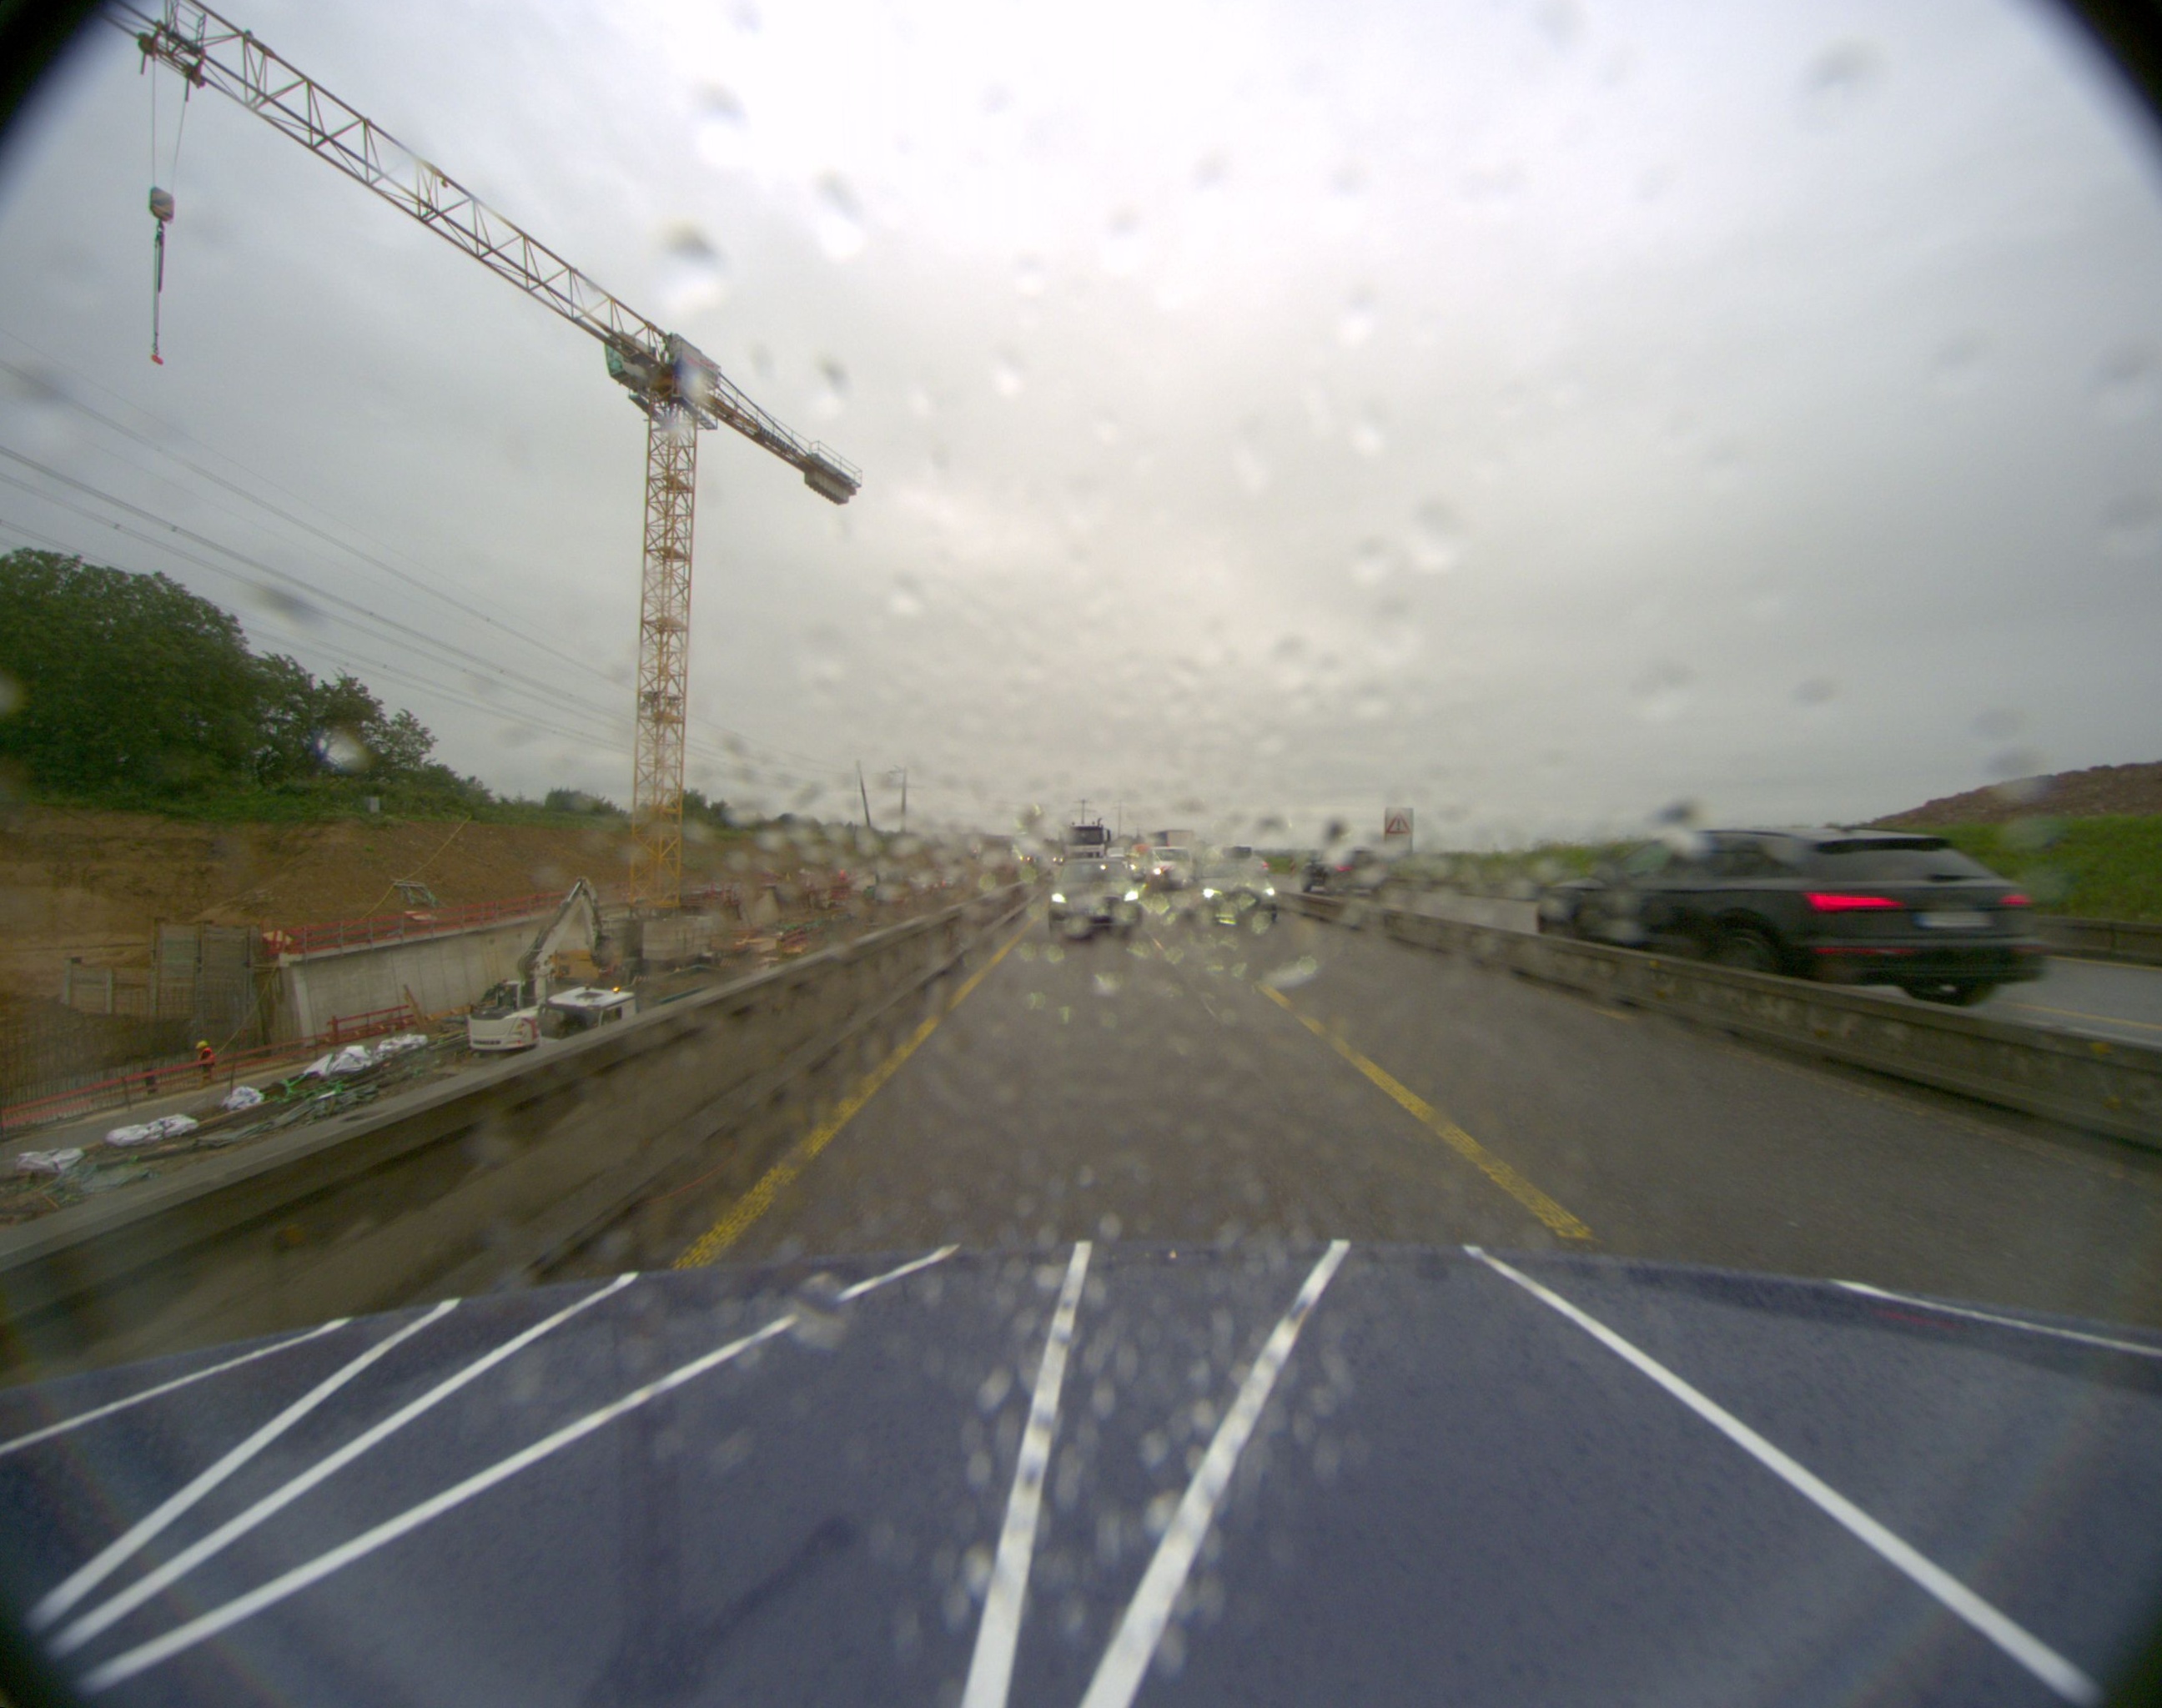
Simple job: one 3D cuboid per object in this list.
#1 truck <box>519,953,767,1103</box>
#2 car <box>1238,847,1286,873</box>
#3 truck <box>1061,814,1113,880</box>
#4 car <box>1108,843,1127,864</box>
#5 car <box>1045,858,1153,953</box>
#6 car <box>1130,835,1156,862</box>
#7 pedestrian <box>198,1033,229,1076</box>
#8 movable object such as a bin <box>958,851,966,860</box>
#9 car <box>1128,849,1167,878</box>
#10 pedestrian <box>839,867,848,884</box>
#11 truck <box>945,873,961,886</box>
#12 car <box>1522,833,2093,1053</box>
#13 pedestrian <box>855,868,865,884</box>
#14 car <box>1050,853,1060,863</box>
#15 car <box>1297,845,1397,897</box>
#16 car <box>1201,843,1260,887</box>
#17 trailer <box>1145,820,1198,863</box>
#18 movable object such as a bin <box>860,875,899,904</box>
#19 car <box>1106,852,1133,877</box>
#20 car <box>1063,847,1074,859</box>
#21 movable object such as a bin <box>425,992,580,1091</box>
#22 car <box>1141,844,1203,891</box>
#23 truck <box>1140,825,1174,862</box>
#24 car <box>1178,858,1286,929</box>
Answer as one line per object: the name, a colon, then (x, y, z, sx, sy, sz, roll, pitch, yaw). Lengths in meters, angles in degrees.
truck: (-16.029, 6.193, 28.988, 2.704, 3.483, 8.954, -2, 1, 12)
car: (11.115, 0.326, 47.031, 1.998, 1.492, 4.536, -2, 0, 2)
truck: (0.228, -0.468, 47.252, 2.837, 3.617, 9.117, -2, 1, -1)
car: (4.835, -0.032, 100.528, 2.011, 2.638, 6.884, -2, 0, -1)
car: (0.333, 0.898, 15.150, 1.799, 1.524, 4.307, -2, 0, 1)
car: (6.081, -0.519, 75.358, 2.059, 2.562, 7.021, -2, 0, 1)
pedestrian: (-32.419, 7.489, 28.395, 0.424, 1.427, 0.399, -11, 1, 4)
movable object such as a bin: (-38.311, 0.564, 244.661, 2.253, 2.703, 3.997, -2, 1, -7)
car: (3.866, 0.541, 44.652, 1.800, 1.521, 4.066, -2, 1, -1)
pedestrian: (-33.619, 3.000, 107.548, 0.918, 2.233, 1.005, -6, 2, -7)
truck: (-20.240, 3.996, 120.402, 1.767, 1.860, 5.783, 0, 1, -3)
car: (6.849, 0.692, 8.050, 1.826, 1.629, 4.485, -2, 0, 2)
pedestrian: (-32.562, 3.292, 111.951, 0.917, 2.219, 1.005, -6, 2, 0)
car: (-5.013, 0.822, 148.824, 1.800, 1.851, 4.285, -2, 1, -1)
car: (9.668, 0.597, 28.079, 1.998, 1.677, 4.970, -2, 0, 1)
car: (7.464, 0.538, 38.416, 1.998, 1.988, 4.970, -2, 0, 1)
trailer: (9.184, -1.160, 79.248, 2.787, 4.011, 13.736, -2, 0, -4)
movable object such as a bin: (-25.022, 4.369, 94.651, 3.803, 2.790, 4.848, -1, 6, -4)
car: (3.094, 0.834, 61.811, 1.800, 1.851, 4.285, -2, 1, -2)
car: (-2.288, -0.182, 132.935, 1.800, 1.851, 4.285, -2, 1, -2)
movable object such as a bin: (-20.767, 6.675, 27.477, 3.157, 2.722, 2.968, -2, 1, 1)
car: (3.981, 0.511, 34.036, 2.160, 1.848, 5.179, -2, 1, 1)
truck: (8.600, -1.103, 86.507, 2.796, 4.011, 5.818, -2, 0, -4)
car: (3.520, 0.859, 18.498, 1.799, 1.389, 4.268, -2, 1, 1)
